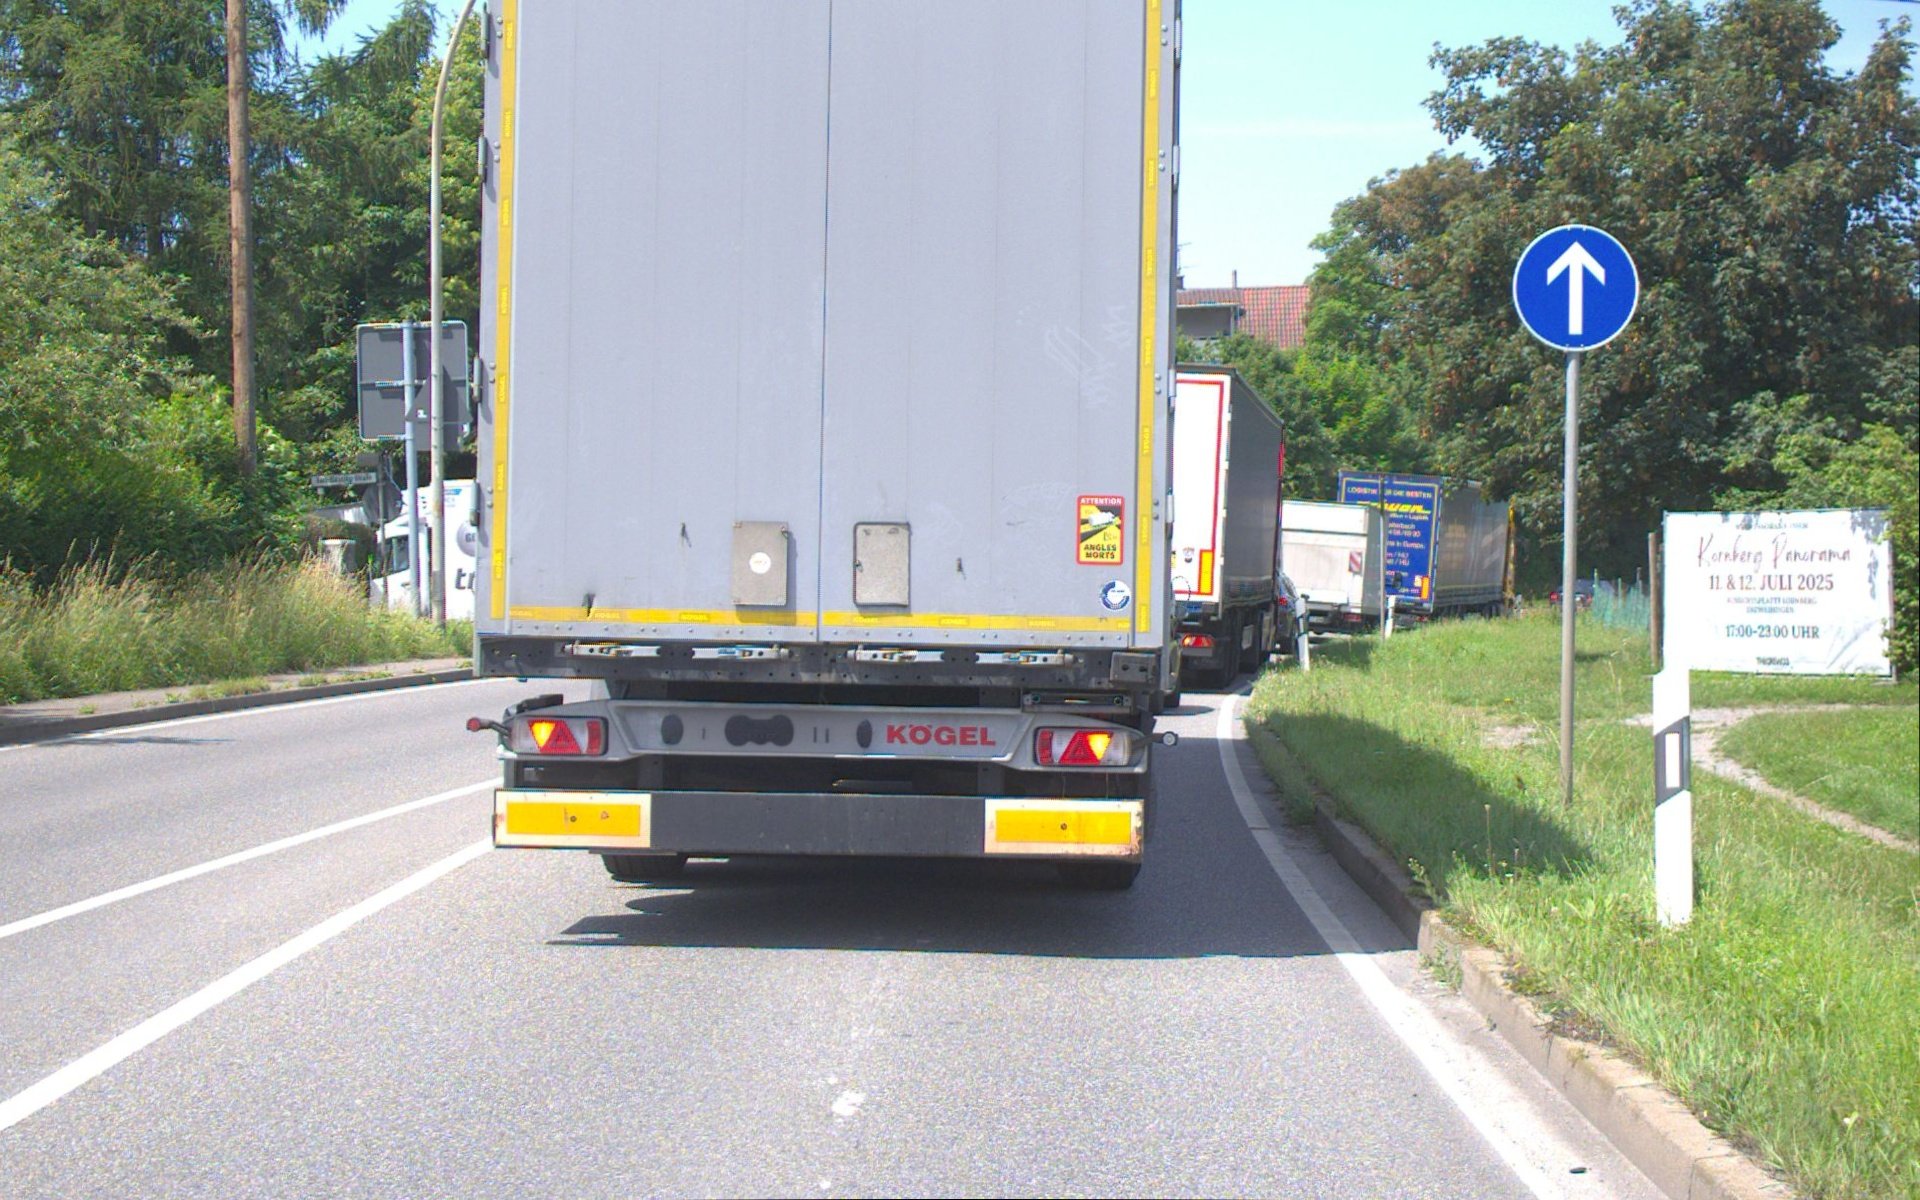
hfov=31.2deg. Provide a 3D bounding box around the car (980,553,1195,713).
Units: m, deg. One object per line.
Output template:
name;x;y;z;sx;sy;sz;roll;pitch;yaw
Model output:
car;1.406;0.297;36.259;1.994;1.525;3.999;1;1;6

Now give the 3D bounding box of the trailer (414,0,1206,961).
trailer;-0.206;-0.980;18.271;2.787;4.191;12.110;1;1;3

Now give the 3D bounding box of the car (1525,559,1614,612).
car;20.136;-0.498;113.419;1.996;1.678;3.995;1;1;23

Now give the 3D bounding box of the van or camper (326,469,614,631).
van or camper;-8.552;-0.874;59.921;4.854;2.706;2.198;1;1;-10

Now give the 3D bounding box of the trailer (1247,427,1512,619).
trailer;11.444;-2.052;91.517;5.182;4.612;15.886;1;1;13

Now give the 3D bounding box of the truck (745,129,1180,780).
truck;0.188;-1.011;25.153;2.746;4.151;6.142;1;1;3

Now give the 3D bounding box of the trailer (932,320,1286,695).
trailer;2.387;-1.211;47.854;3.892;4.505;12.710;1;1;7

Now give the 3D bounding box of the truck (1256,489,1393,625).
truck;8.022;-0.974;75.181;2.421;2.828;5.410;1;1;12

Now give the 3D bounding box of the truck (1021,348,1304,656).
truck;3.368;-1.520;54.838;3.938;4.559;7.150;1;1;8

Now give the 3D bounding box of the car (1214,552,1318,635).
car;5.869;-0.146;65.673;1.842;1.481;3.999;1;1;7
